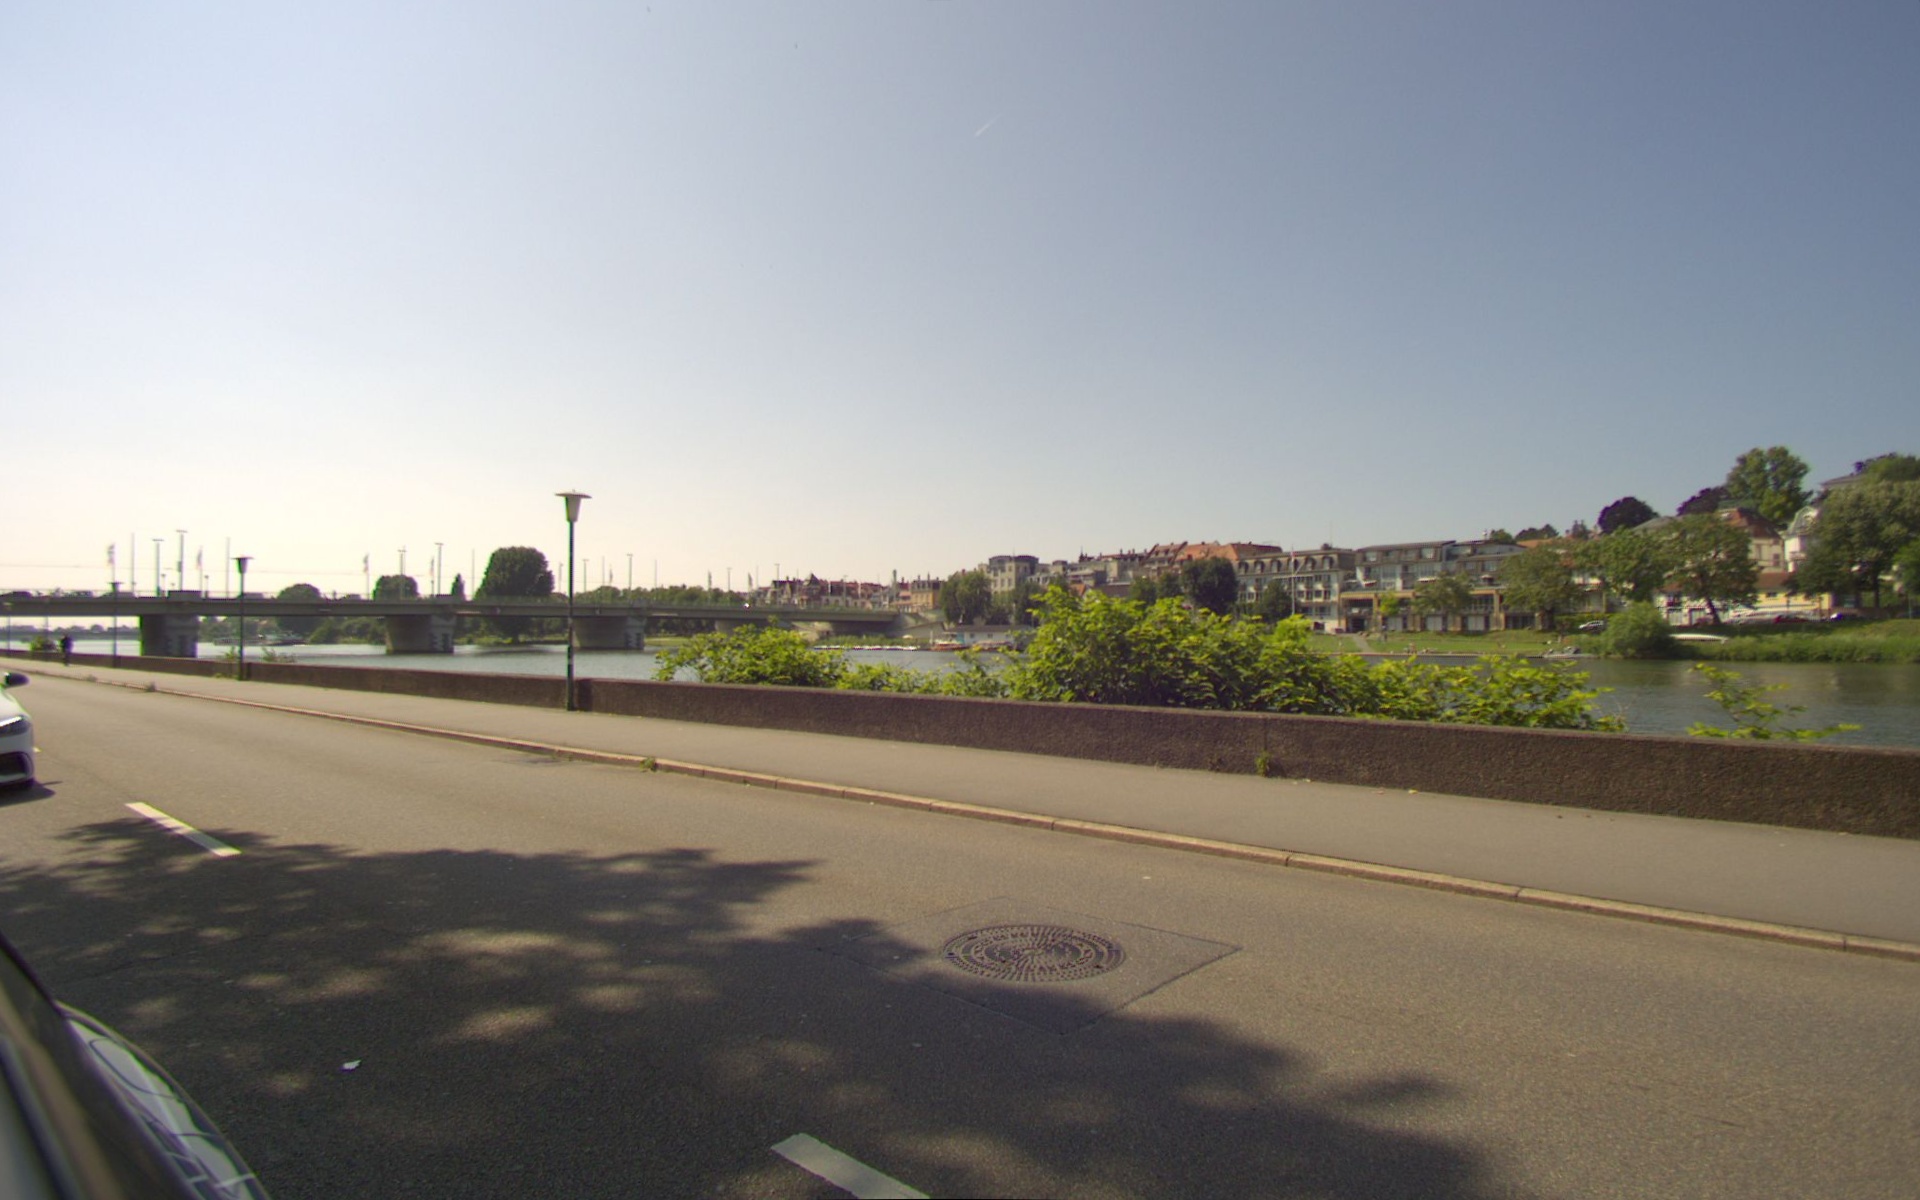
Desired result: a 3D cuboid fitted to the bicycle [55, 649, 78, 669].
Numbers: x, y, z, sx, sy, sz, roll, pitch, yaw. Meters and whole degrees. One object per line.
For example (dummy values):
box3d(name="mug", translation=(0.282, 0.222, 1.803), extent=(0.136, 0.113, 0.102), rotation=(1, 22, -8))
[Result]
box3d(name="bicycle", translation=(-45.403, 2.993, 51.434), extent=(1.943, 0.990, 0.645), rotation=(-2, -2, 42))

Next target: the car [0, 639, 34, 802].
box3d(name="car", translation=(-10.583, 1.130, 9.887), extent=(4.550, 1.430, 1.807), rotation=(-2, -2, 42))

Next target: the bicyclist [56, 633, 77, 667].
box3d(name="bicyclist", translation=(-45.422, 2.521, 51.453), extent=(0.974, 1.715, 0.654), rotation=(-2, -2, 41))
